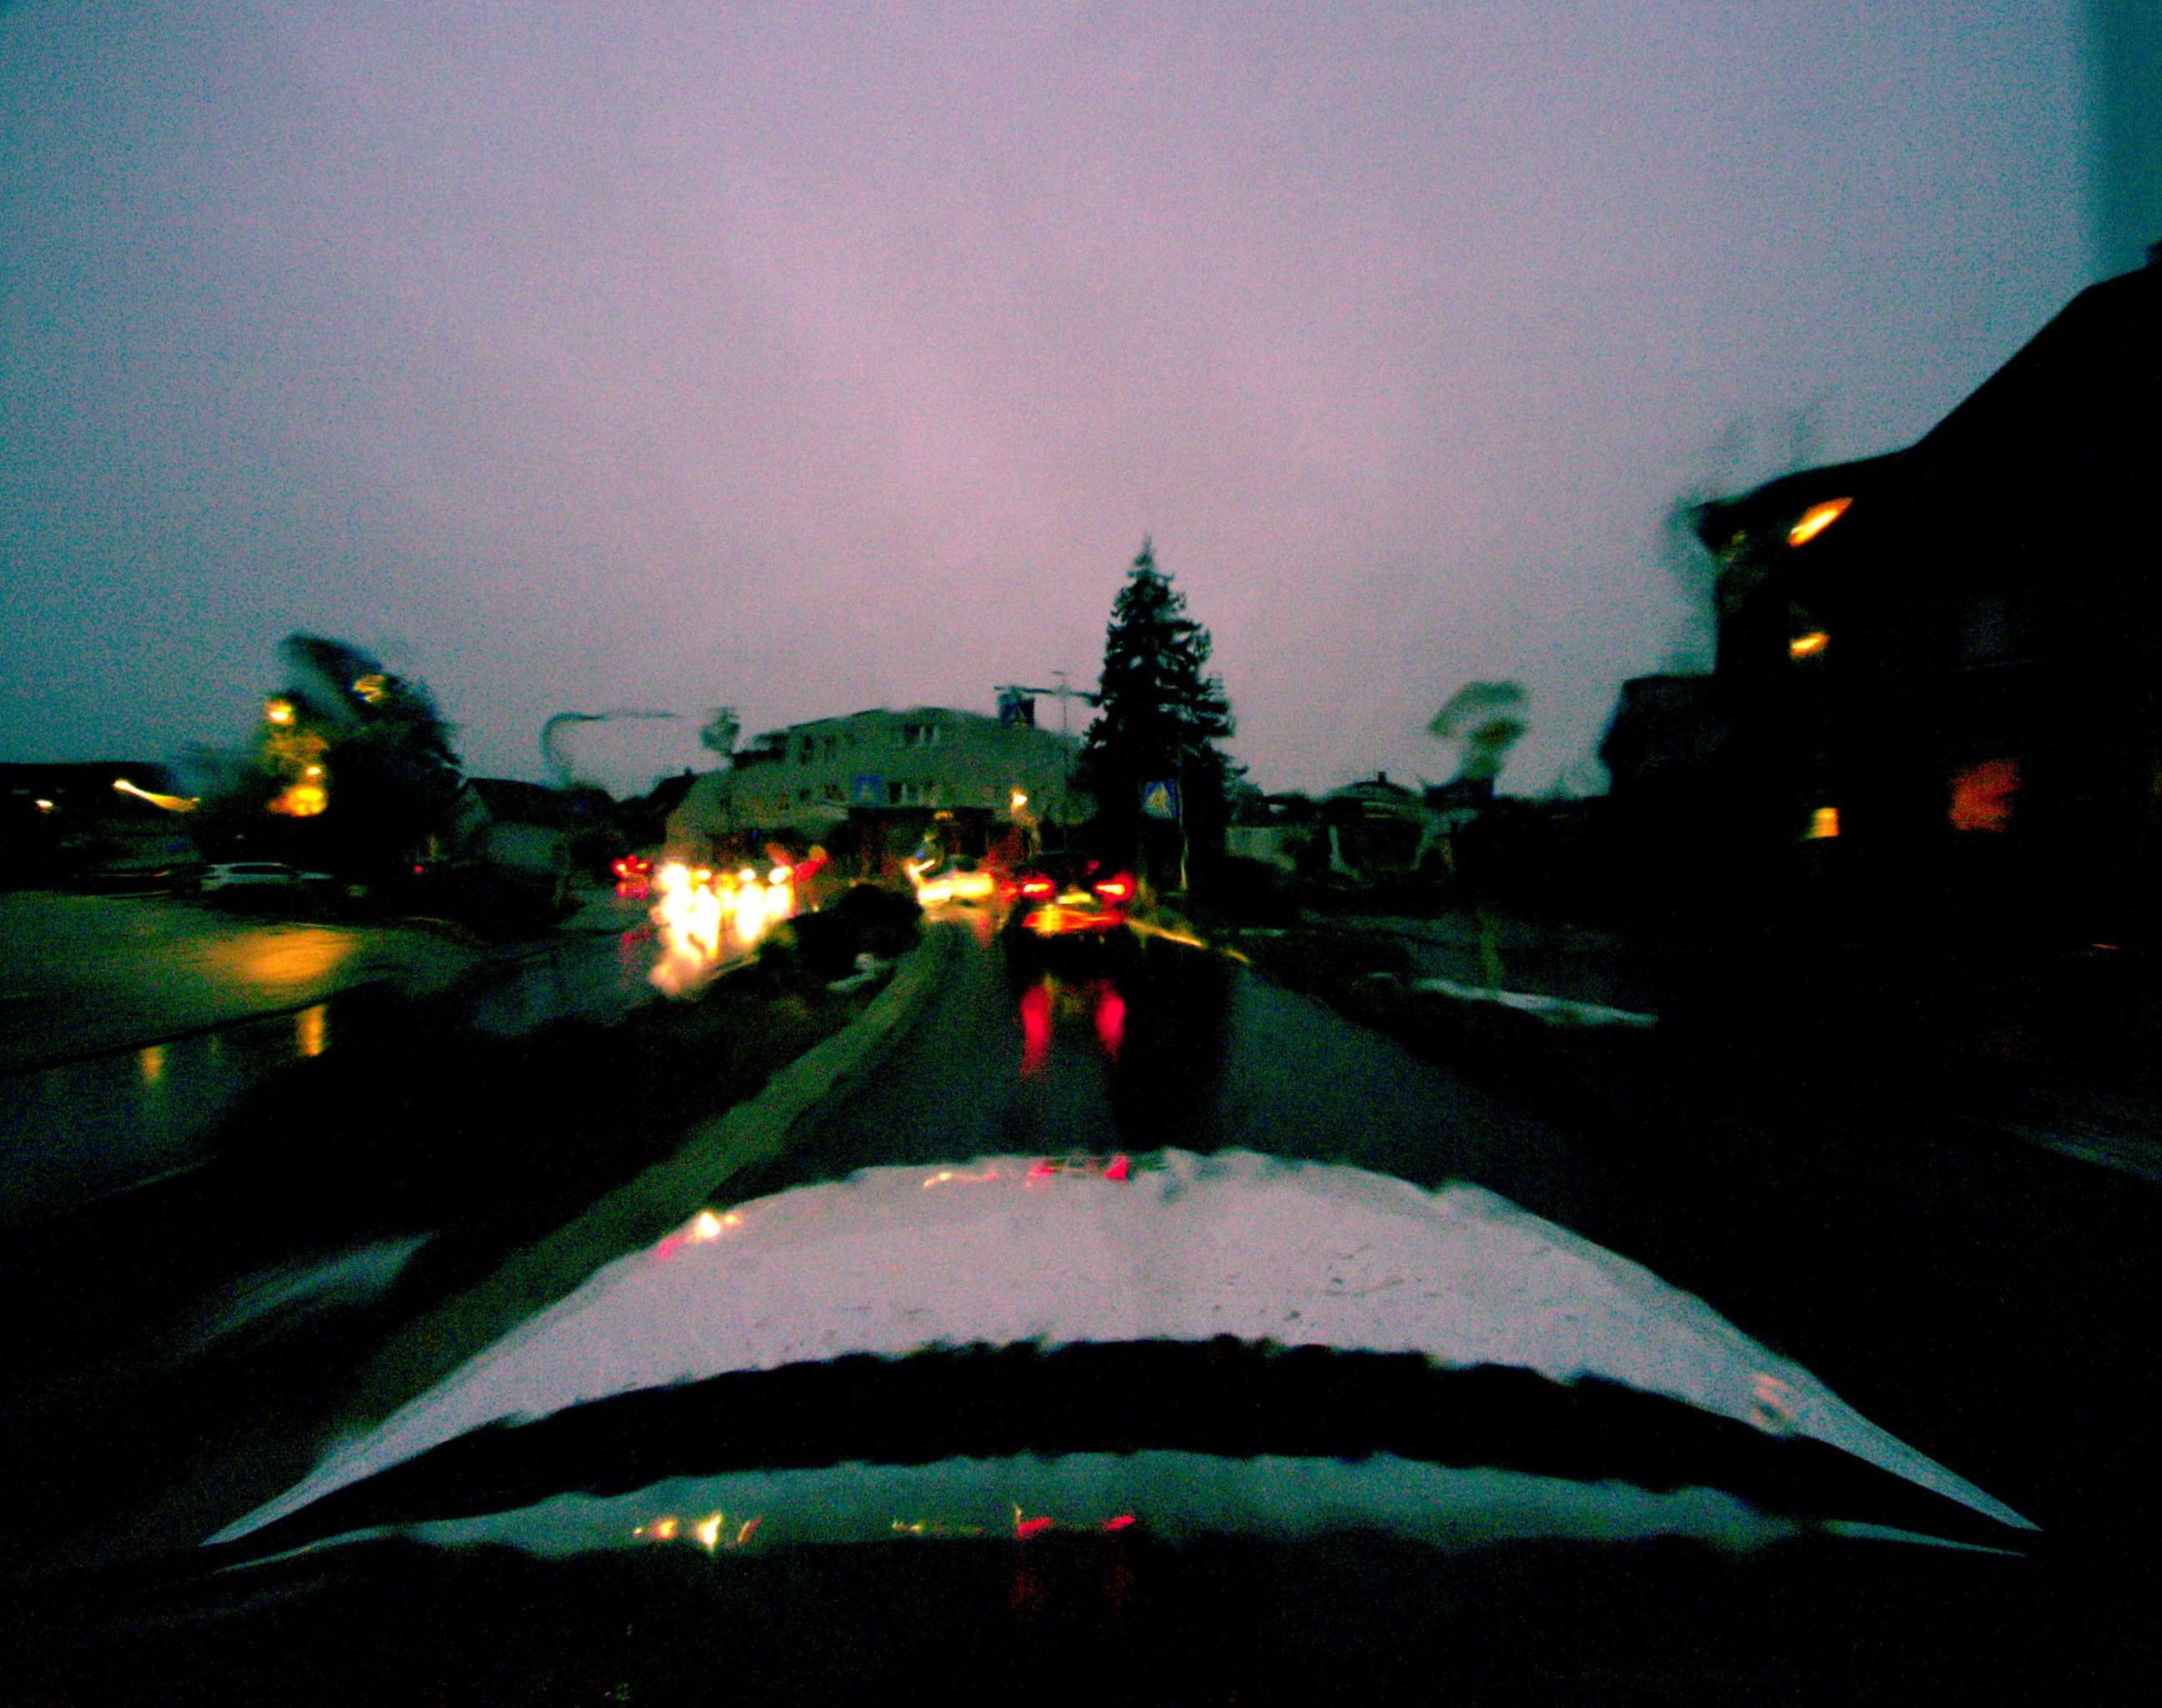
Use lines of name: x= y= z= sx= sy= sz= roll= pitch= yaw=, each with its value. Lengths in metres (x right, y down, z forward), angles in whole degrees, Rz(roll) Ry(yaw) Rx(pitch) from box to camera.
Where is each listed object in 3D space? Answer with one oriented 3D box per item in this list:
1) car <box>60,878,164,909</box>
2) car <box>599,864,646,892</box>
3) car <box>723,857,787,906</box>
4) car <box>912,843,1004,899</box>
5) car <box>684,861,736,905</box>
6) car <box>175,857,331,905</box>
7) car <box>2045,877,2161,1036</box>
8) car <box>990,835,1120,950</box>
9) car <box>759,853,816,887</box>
car: x=-58.077 y=2.318 z=48.862 sx=1.617 sy=1.608 sz=3.936 roll=0 pitch=1 yaw=39
car: x=-33.849 y=1.713 z=60.056 sx=2.081 sy=1.833 sz=4.517 roll=-2 pitch=2 yaw=-42
car: x=-15.567 y=1.225 z=38.728 sx=2.177 sy=2.060 sz=4.528 roll=-1 pitch=1 yaw=-30
car: x=-4.294 y=0.500 z=27.836 sx=2.171 sy=1.689 sz=4.539 roll=-1 pitch=2 yaw=-21
car: x=-19.762 y=1.456 z=43.239 sx=2.176 sy=2.060 sz=4.529 roll=-1 pitch=1 yaw=-28
car: x=-34.736 y=1.073 z=34.290 sx=1.684 sy=1.747 sz=4.384 roll=0 pitch=1 yaw=36
car: x=10.881 y=0.957 z=6.792 sx=1.291 sy=1.383 sz=3.543 roll=0 pitch=1 yaw=-33
car: x=-0.607 y=0.551 z=14.544 sx=1.943 sy=1.718 sz=3.990 roll=-1 pitch=1 yaw=-7
car: x=-16.819 y=0.860 z=46.589 sx=2.078 sy=1.717 sz=4.524 roll=-2 pitch=1 yaw=-33
